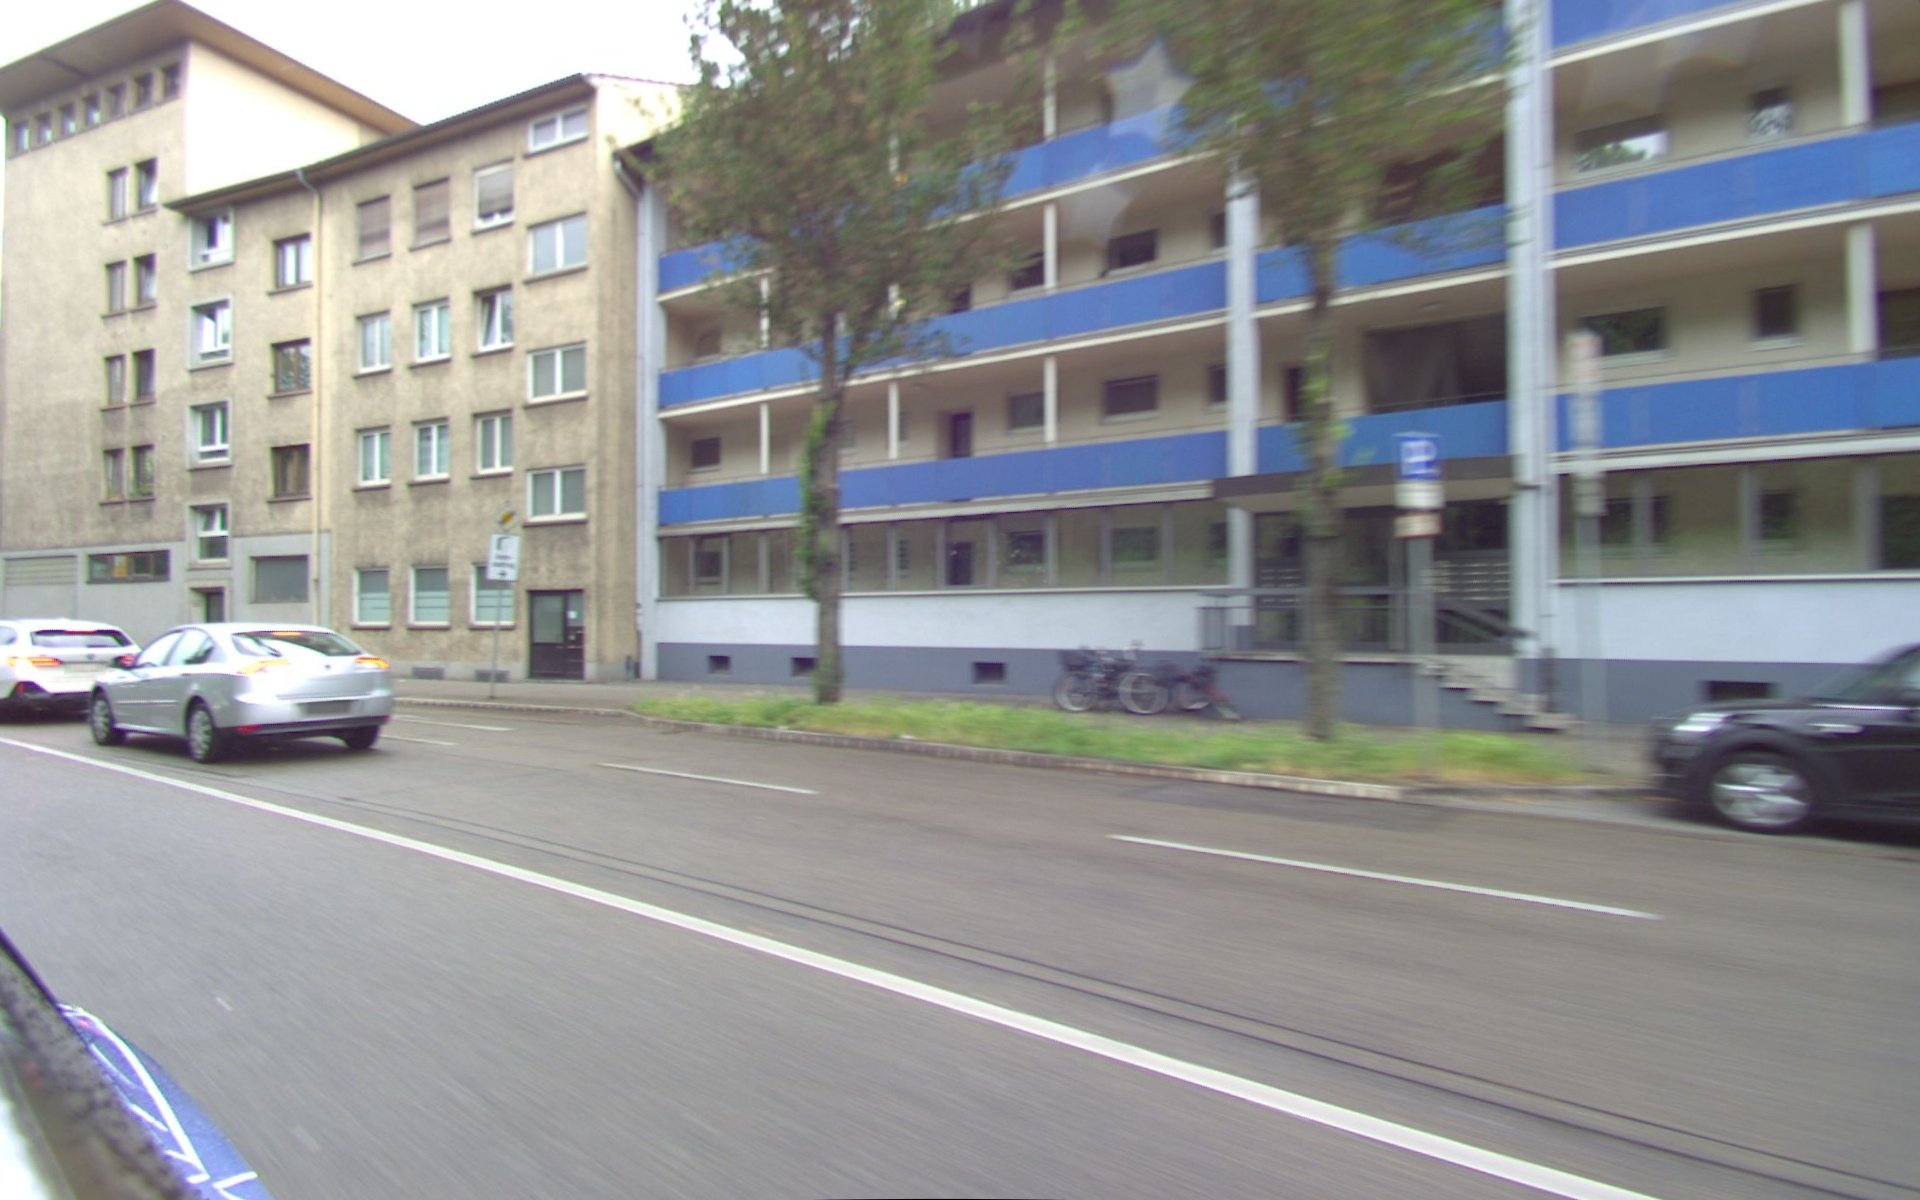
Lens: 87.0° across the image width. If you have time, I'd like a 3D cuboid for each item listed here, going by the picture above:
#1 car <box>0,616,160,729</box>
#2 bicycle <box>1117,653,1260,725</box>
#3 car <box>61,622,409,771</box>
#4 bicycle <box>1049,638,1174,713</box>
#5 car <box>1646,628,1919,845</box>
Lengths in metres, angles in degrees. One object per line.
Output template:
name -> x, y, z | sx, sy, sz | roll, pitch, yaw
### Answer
car -> -14.734, 1.053, 15.815 | 5.009, 1.528, 1.807 | -1, -3, 31
bicycle -> 3.053, 1.165, 13.552 | 1.735, 0.832, 0.662 | -1, 2, 33
car -> -8.494, 0.981, 11.740 | 4.523, 1.436, 1.739 | -1, -2, 33
bicycle -> 2.227, 1.087, 14.885 | 1.723, 1.031, 0.609 | -1, -2, 24
car -> 7.270, 0.923, 6.947 | 4.085, 1.414, 1.761 | -1, -3, 40
